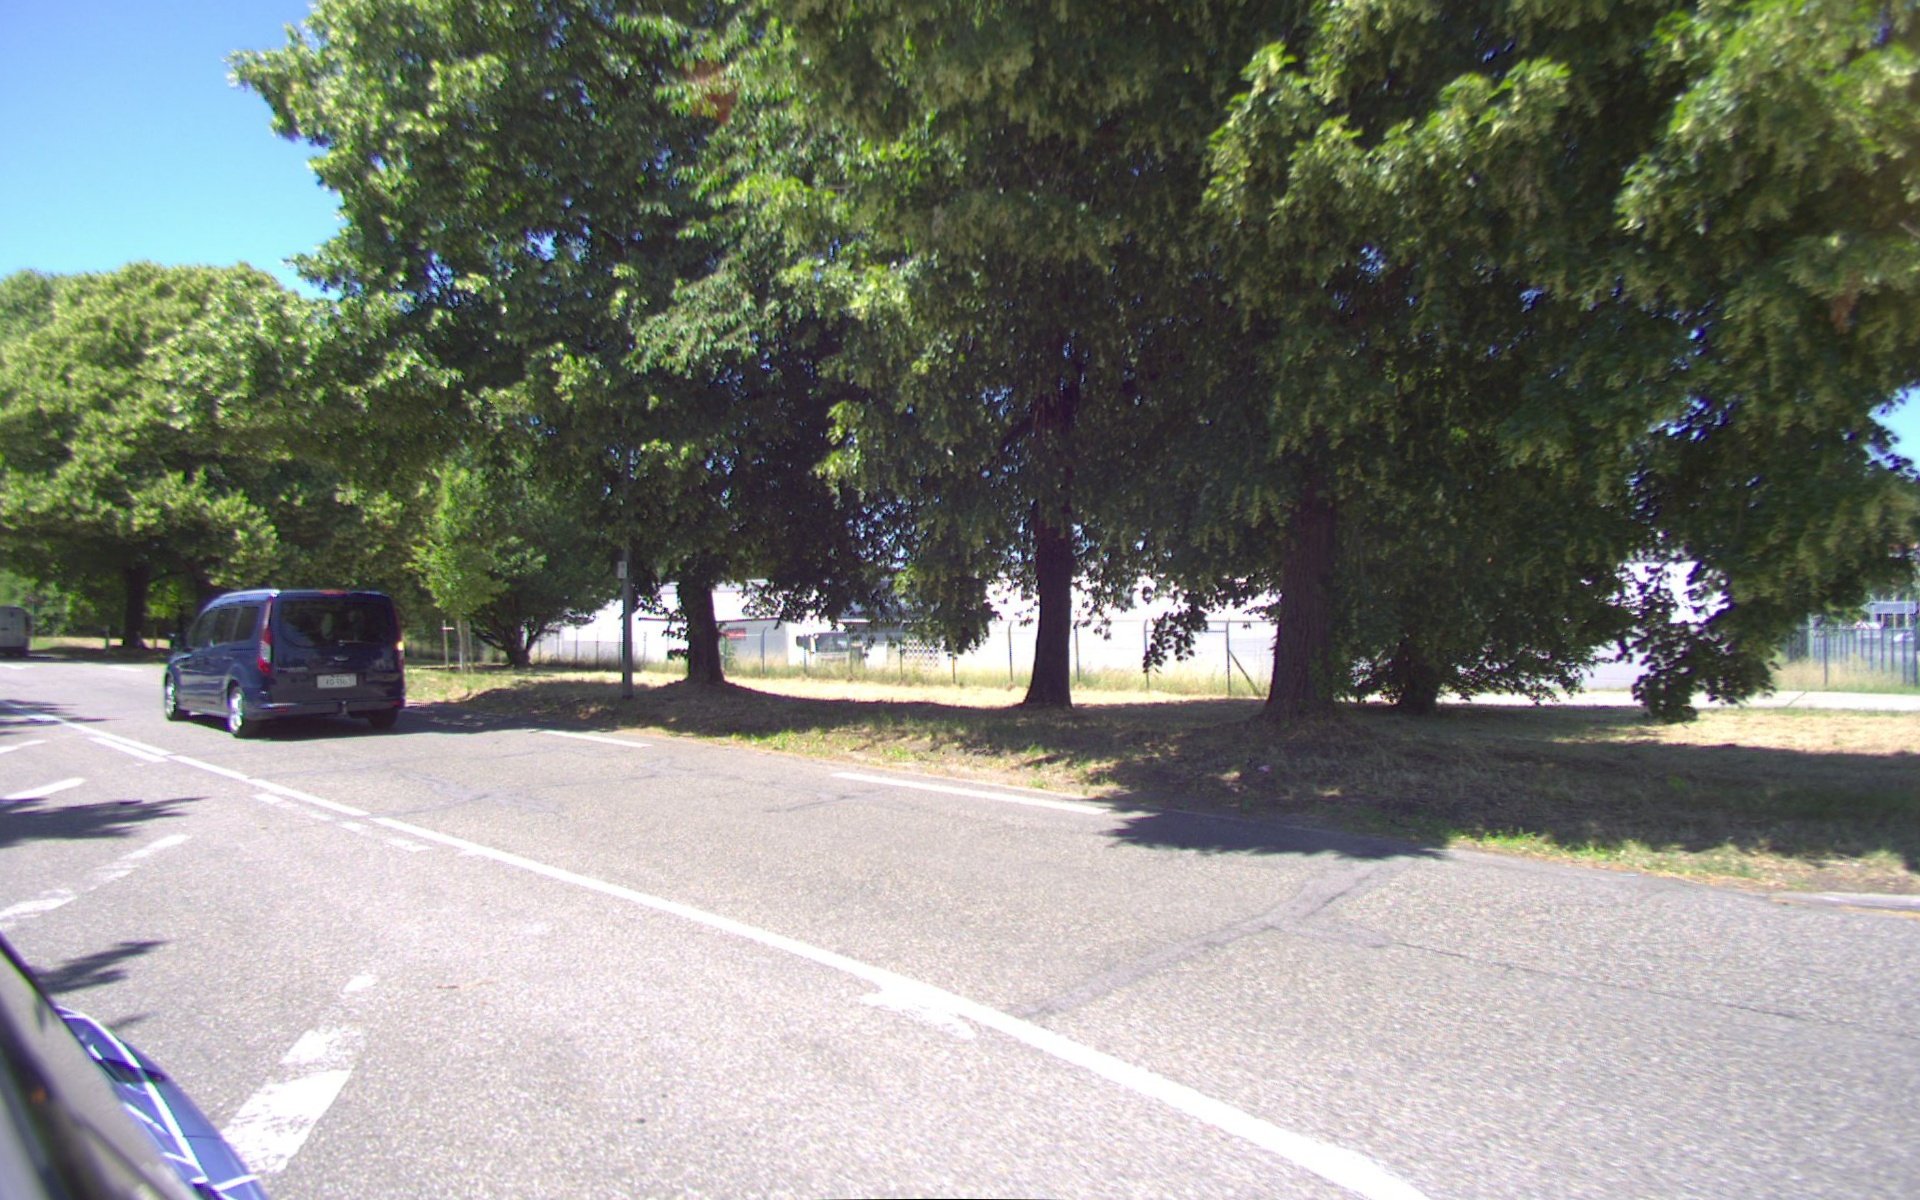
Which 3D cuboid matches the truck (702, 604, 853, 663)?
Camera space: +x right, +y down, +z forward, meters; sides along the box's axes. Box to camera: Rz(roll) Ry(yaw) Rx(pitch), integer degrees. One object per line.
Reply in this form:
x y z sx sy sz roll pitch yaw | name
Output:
-9.940 1.747 53.916 2.654 2.818 10.164 0 -1 -45 | truck

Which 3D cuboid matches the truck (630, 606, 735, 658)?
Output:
-16.853 1.873 61.055 2.405 2.950 8.168 0 -1 -45 | truck

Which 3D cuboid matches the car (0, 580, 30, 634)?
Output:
-35.099 0.285 36.356 5.295 1.848 1.858 -1 -2 40 | car

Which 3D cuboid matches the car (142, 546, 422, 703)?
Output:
-9.367 0.342 13.823 4.777 1.795 1.805 -1 -3 39 | car
